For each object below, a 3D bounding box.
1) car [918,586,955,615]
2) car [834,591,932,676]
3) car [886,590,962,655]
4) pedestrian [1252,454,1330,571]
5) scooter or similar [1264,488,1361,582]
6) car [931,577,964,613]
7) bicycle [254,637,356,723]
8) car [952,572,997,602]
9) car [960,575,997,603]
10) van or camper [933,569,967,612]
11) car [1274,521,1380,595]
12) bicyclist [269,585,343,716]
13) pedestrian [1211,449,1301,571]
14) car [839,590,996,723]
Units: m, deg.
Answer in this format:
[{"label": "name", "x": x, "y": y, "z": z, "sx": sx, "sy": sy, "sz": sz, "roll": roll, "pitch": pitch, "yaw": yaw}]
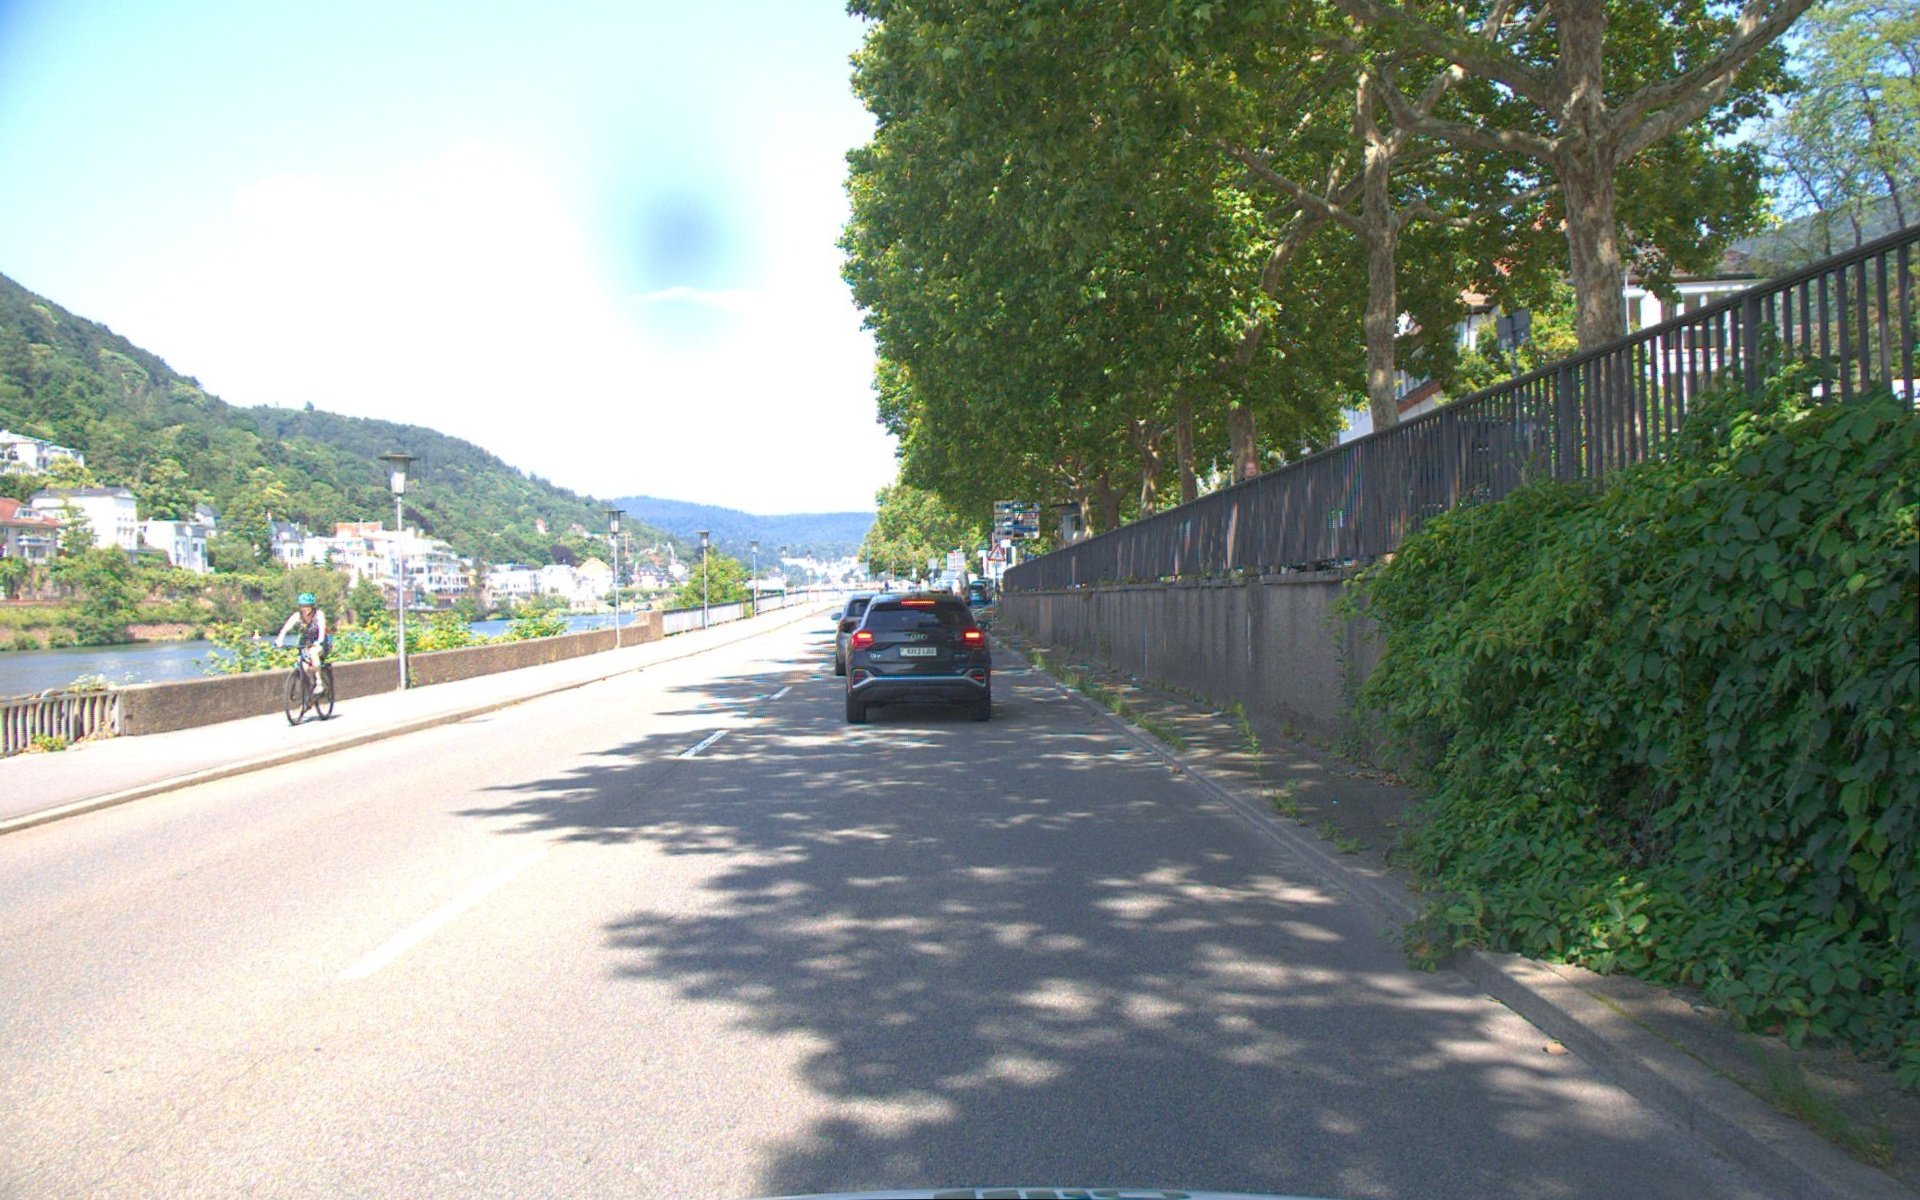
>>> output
[{"label": "car", "x": -1.238, "y": 0.011, "z": 86.284, "sx": 1.791, "sy": 1.470, "sz": 3.998, "roll": -1, "pitch": 0, "yaw": -2}, {"label": "car", "x": -1.497, "y": 0.604, "z": 32.642, "sx": 1.791, "sy": 1.537, "sz": 3.998, "roll": -1, "pitch": 0, "yaw": -2}, {"label": "car", "x": -0.929, "y": 0.523, "z": 41.405, "sx": 1.791, "sy": 1.512, "sz": 3.998, "roll": -1, "pitch": 0, "yaw": -2}, {"label": "pedestrian", "x": 4.209, "y": -1.101, "z": 21.096, "sx": 0.667, "sy": 1.389, "sz": 0.989, "roll": -4, "pitch": 0, "yaw": -2}, {"label": "scooter or similar", "x": 4.290, "y": -0.783, "z": 20.206, "sx": 0.838, "sy": 1.044, "sz": 1.107, "roll": -5, "pitch": 0, "yaw": -2}, {"label": "car", "x": -0.838, "y": -0.347, "z": 107.728, "sx": 1.953, "sy": 2.207, "sz": 3.998, "roll": -2, "pitch": 0, "yaw": -2}, {"label": "bicycle", "x": -8.804, "y": 1.054, "z": 22.299, "sx": 0.620, "sy": 1.029, "sz": 1.985, "roll": -2, "pitch": 0, "yaw": -2}, {"label": "car", "x": 1.092, "y": -0.974, "z": 127.111, "sx": 3.037, "sy": 2.048, "sz": 5.822, "roll": -4, "pitch": 0, "yaw": -2}, {"label": "car", "x": 1.498, "y": -0.889, "z": 136.535, "sx": 2.609, "sy": 2.048, "sz": 5.822, "roll": -4, "pitch": 0, "yaw": -2}, {"label": "van or camper", "x": -0.682, "y": -0.673, "z": 116.827, "sx": 2.263, "sy": 2.897, "sz": 4.245, "roll": -2, "pitch": 0, "yaw": 0}, {"label": "car", "x": 8.377, "y": -0.917, "z": 37.505, "sx": 1.616, "sy": 1.526, "sz": 3.816, "roll": -1, "pitch": 0, "yaw": 24}, {"label": "bicyclist", "x": -8.796, "y": 0.661, "z": 22.279, "sx": 0.624, "sy": 1.703, "sz": 0.870, "roll": -2, "pitch": 0, "yaw": -2}, {"label": "pedestrian", "x": 4.176, "y": -1.258, "z": 23.396, "sx": 0.918, "sy": 1.606, "sz": 1.027, "roll": -4, "pitch": 0, "yaw": -4}, {"label": "car", "x": -0.566, "y": 0.640, "z": 21.096, "sx": 1.791, "sy": 1.512, "sz": 3.998, "roll": -1, "pitch": 0, "yaw": -2}]
